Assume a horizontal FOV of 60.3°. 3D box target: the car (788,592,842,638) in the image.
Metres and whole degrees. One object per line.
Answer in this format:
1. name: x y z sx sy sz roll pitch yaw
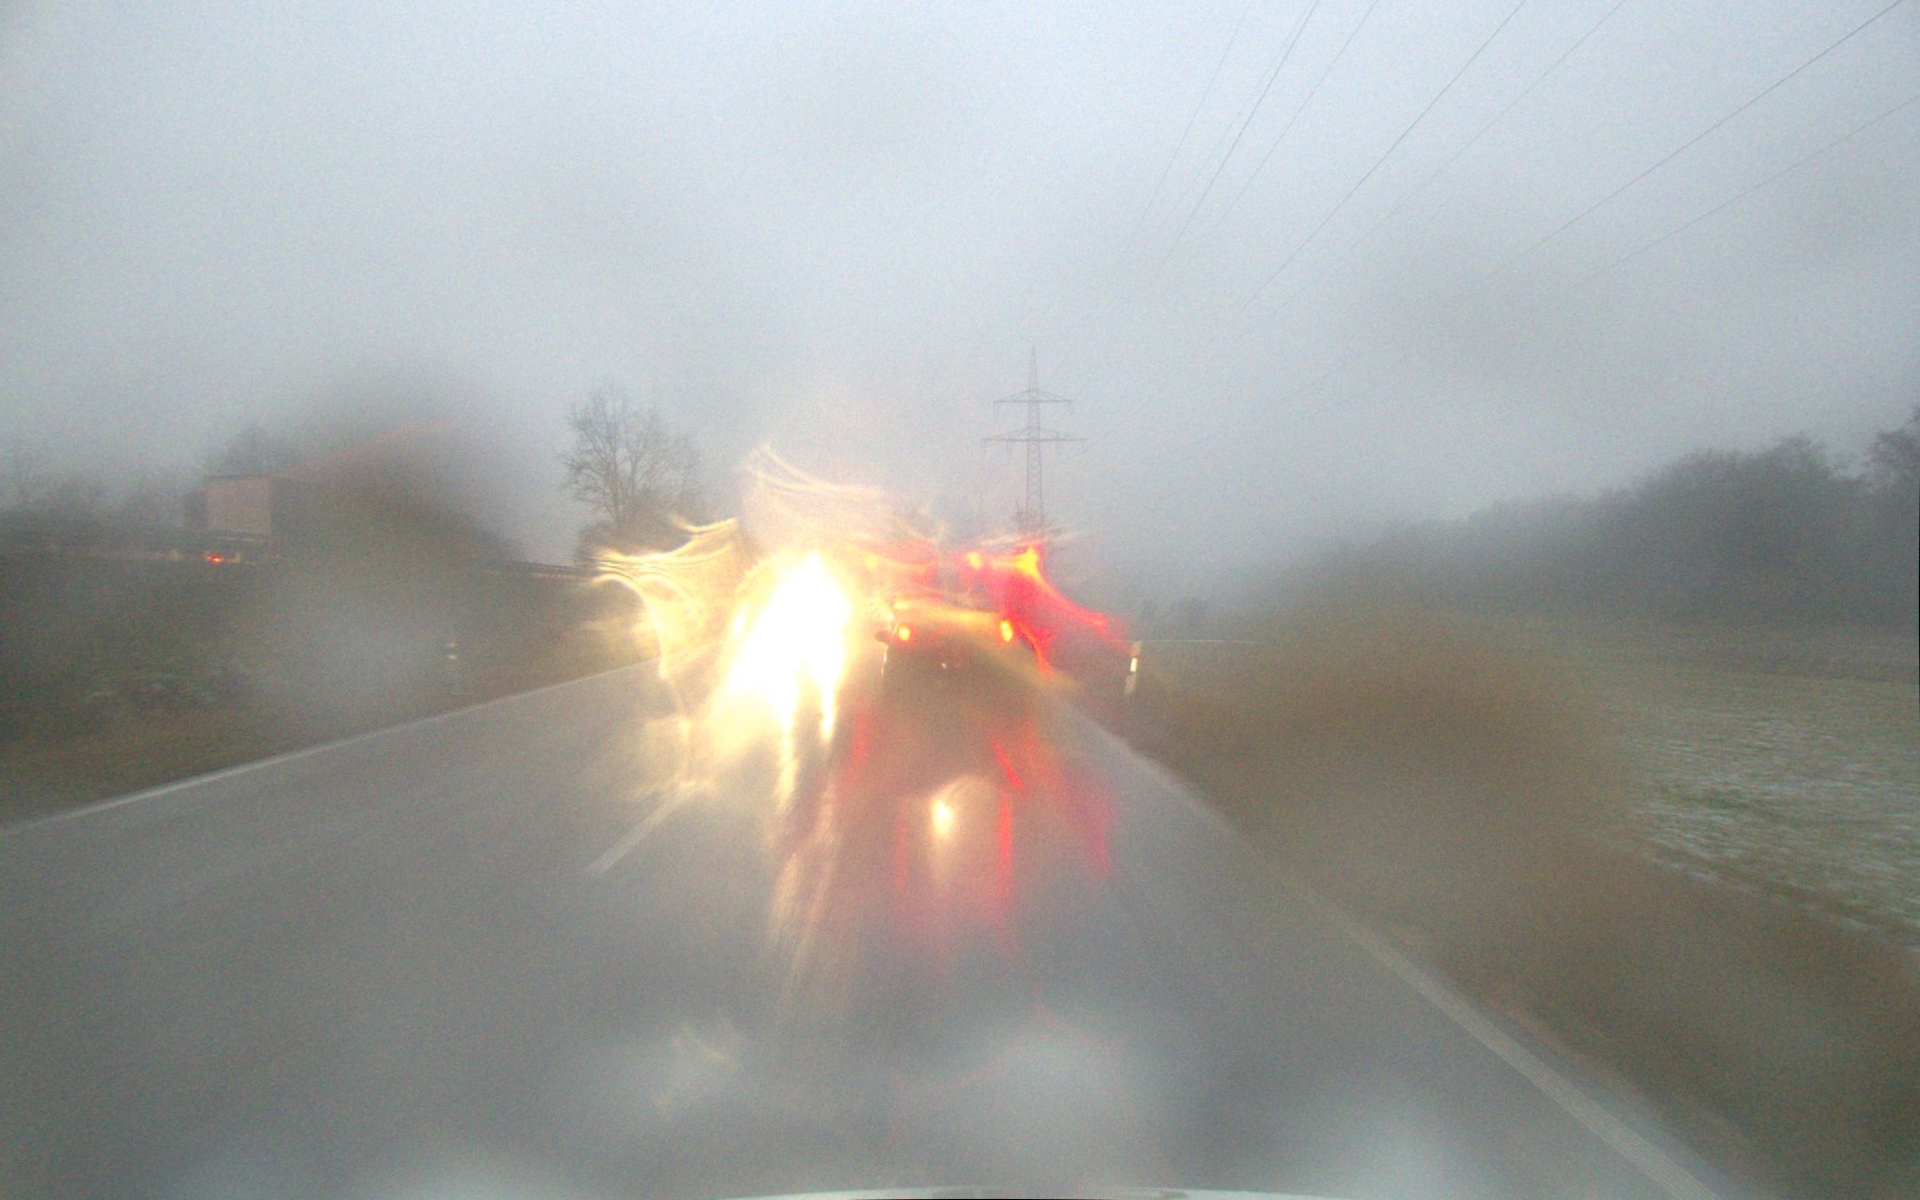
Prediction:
1. car: -5.429 0.538 62.344 1.749 1.619 4.485 1 0 -2

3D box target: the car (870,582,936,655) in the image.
1. car: -1.743 0.524 49.223 1.815 2.049 3.997 1 0 -4

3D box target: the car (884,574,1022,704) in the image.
1. car: -0.148 0.430 19.937 1.470 1.423 3.197 1 0 -4

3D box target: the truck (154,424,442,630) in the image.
1. truck: -31.836 -2.844 83.996 7.414 7.848 40.012 1 0 -13
